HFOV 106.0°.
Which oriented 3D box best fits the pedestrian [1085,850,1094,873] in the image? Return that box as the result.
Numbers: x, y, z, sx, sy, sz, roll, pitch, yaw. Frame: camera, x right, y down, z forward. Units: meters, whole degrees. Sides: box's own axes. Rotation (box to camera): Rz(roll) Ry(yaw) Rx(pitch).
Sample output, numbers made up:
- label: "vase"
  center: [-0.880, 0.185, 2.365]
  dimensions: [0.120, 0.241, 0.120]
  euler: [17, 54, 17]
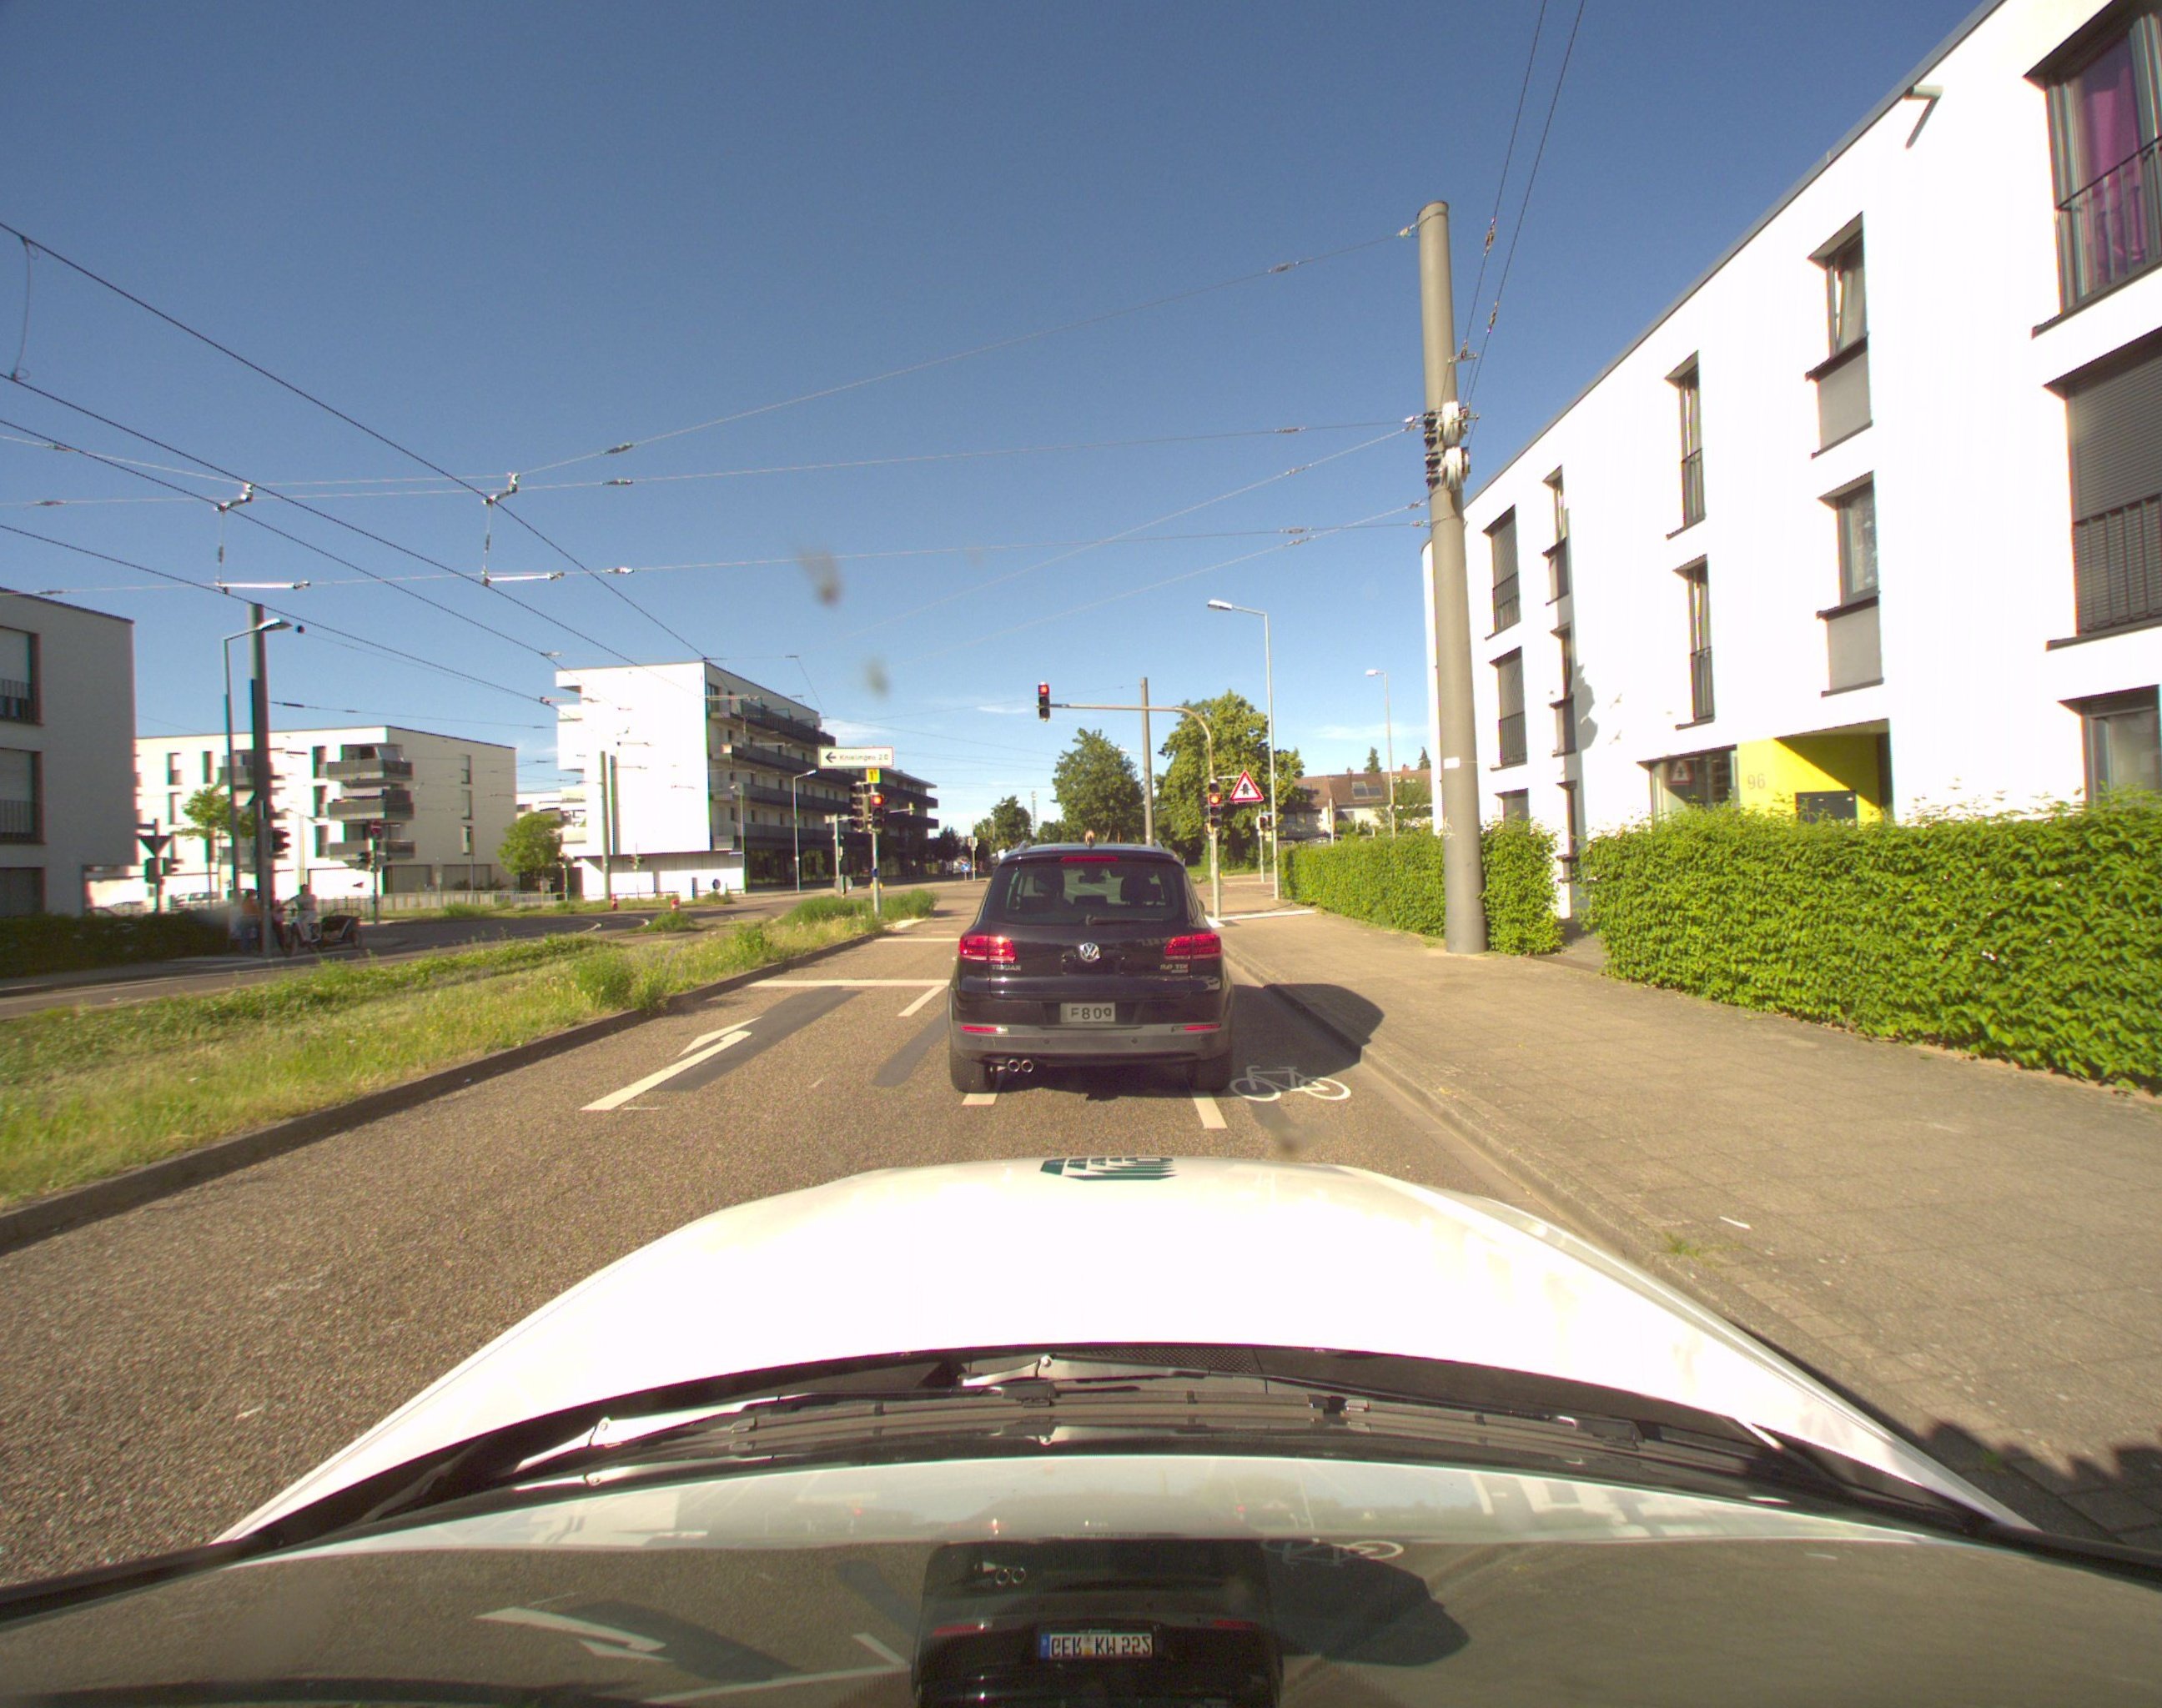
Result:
- label: "pedestrian"
  center: [0.652, 0.563, 59.780]
  dimensions: [0.600, 1.640, 0.530]
  euler: [-1, 0, 6]

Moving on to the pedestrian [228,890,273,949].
- label: "pedestrian"
  center: [-21.606, 1.690, 21.205]
  dimensions: [0.559, 1.464, 0.737]
  euler: [-1, 0, -22]

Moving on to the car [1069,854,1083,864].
- label: "car"
  center: [-0.659, 0.688, 111.541]
  dimensions: [1.745, 1.387, 4.000]
  euler: [-1, 0, 0]

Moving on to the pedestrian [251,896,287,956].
- label: "pedestrian"
  center: [-20.952, 1.845, 21.020]
  dimensions: [0.561, 1.464, 0.605]
  euler: [-1, 0, -36]

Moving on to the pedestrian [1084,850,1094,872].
- label: "pedestrian"
  center: [0.589, 0.523, 59.201]
  dimensions: [0.600, 1.565, 0.530]
  euler: [-1, 0, 6]

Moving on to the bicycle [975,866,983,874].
- label: "bicycle"
  center: [-12.642, 1.981, 101.082]
  dimensions: [0.493, 0.848, 2.082]
  euler: [-1, 0, 6]

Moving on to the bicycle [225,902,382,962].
- label: "bicycle"
  center: [-19.797, 1.942, 20.935]
  dimensions: [0.996, 1.174, 3.682]
  euler: [1, 0, -9]

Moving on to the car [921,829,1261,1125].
- label: "car"
  center: [0.078, 0.695, 6.606]
  dimensions: [1.899, 1.643, 4.000]
  euler: [-1, 0, 0]

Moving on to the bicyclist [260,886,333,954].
- label: "bicyclist"
  center: [-19.734, 1.640, 20.508]
  dimensions: [0.973, 1.630, 0.909]
  euler: [-1, 0, -10]

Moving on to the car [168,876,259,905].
- label: "car"
  center: [-58.710, 2.437, 55.181]
  dimensions: [3.974, 1.838, 2.000]
  euler: [-1, 0, 0]
